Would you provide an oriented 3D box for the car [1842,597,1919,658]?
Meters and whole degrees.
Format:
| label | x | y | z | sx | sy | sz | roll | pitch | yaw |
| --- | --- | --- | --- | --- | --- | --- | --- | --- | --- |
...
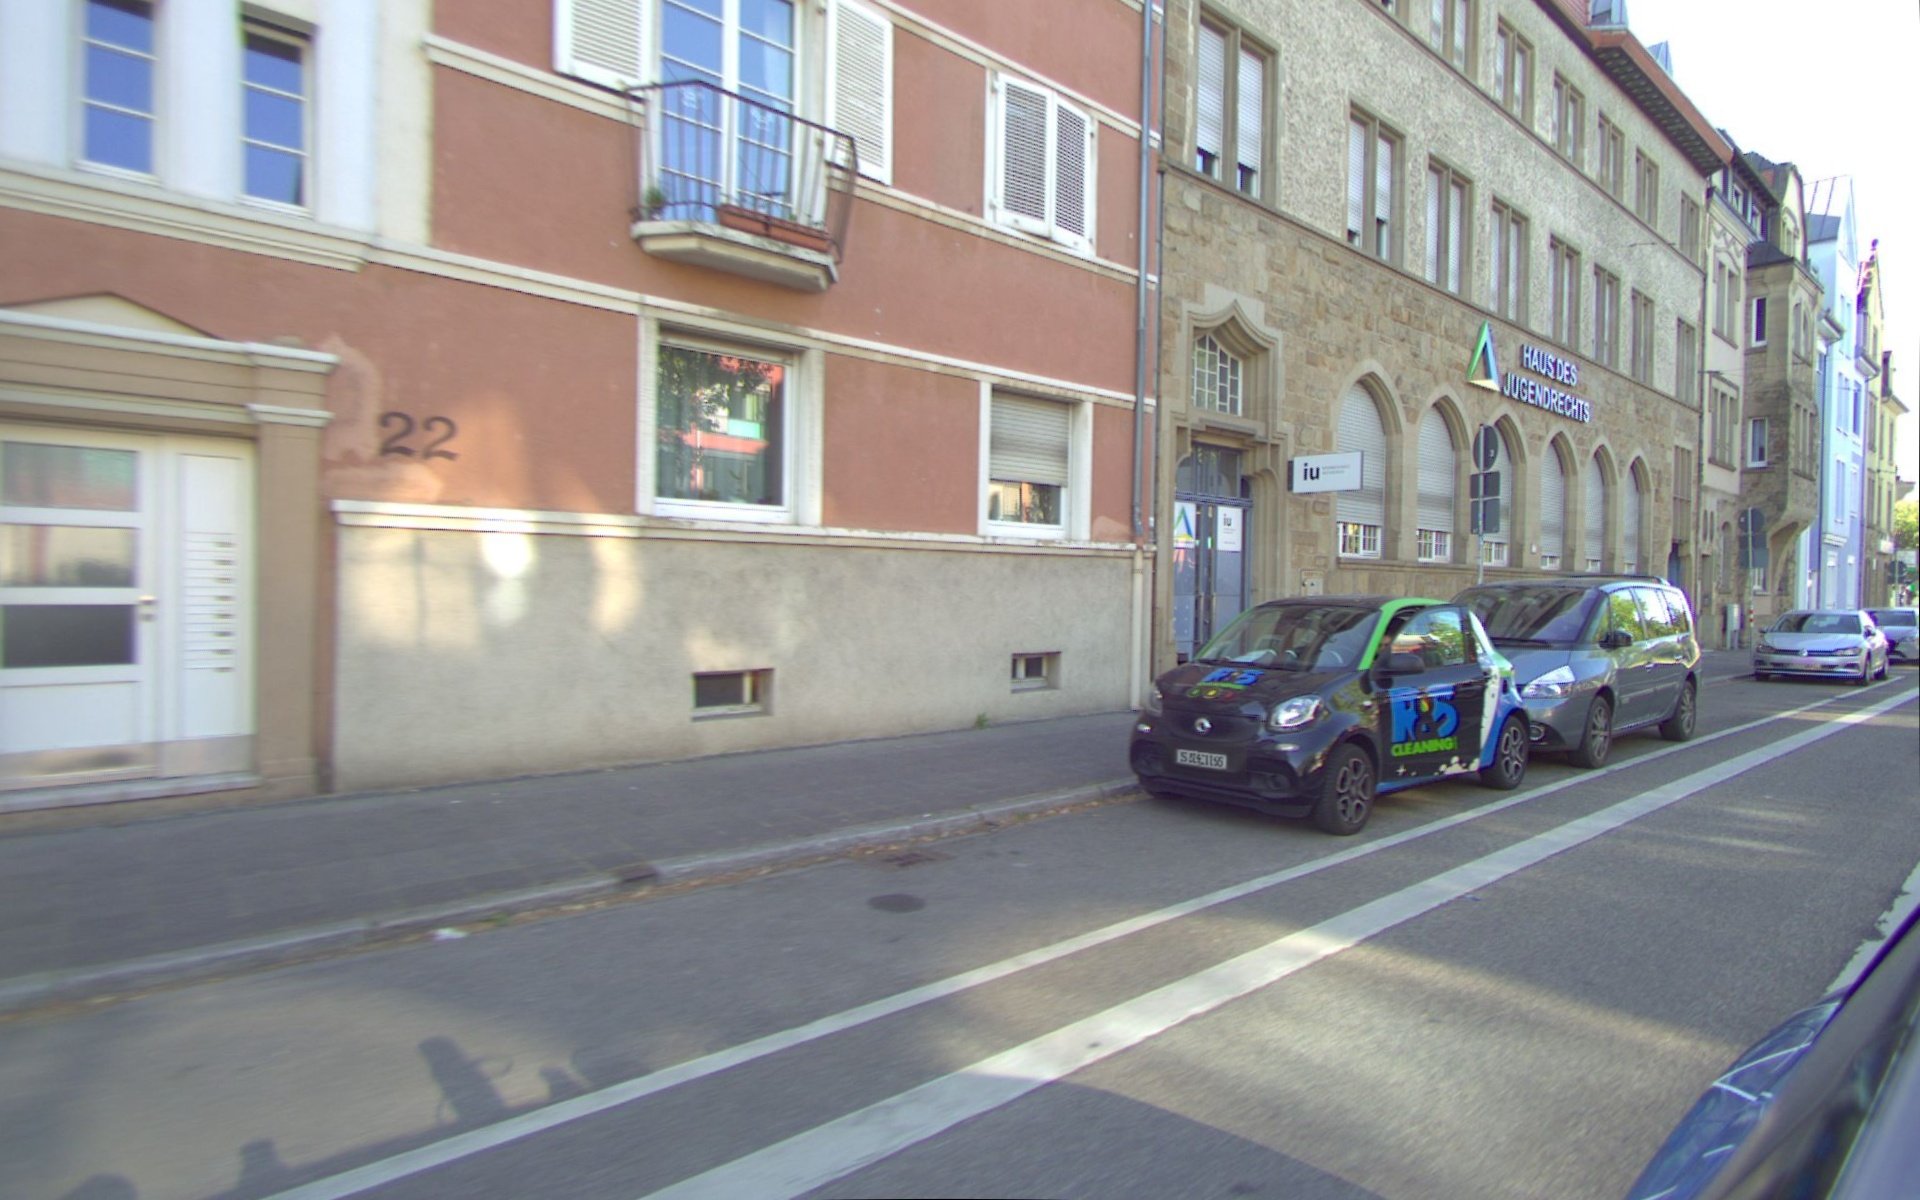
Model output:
| label | x | y | z | sx | sy | sz | roll | pitch | yaw |
| --- | --- | --- | --- | --- | --- | --- | --- | --- | --- |
| car | 25.120 | 0.685 | 26.975 | 4.121 | 1.520 | 1.756 | 0 | 0 | -39 |

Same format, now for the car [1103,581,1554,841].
| label | x | y | z | sx | sy | sz | roll | pitch | yaw |
| --- | --- | --- | --- | --- | --- | --- | --- | --- | --- |
| car | 2.941 | 0.652 | 7.767 | 3.650 | 1.530 | 1.635 | 0 | -1 | -40 |

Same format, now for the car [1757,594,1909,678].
| label | x | y | z | sx | sy | sz | roll | pitch | yaw |
| --- | --- | --- | --- | --- | --- | --- | --- | --- | --- |
| car | 17.611 | 0.657 | 20.350 | 4.151 | 1.520 | 1.716 | 0 | 0 | -41 |

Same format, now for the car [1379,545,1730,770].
| label | x | y | z | sx | sy | sz | roll | pitch | yaw |
| --- | --- | --- | --- | --- | --- | --- | --- | --- | --- |
| car | 6.409 | 0.464 | 10.648 | 4.731 | 1.879 | 1.756 | 0 | 0 | -41 |

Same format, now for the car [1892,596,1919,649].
| label | x | y | z | sx | sy | sz | roll | pitch | yaw |
| --- | --- | --- | --- | --- | --- | --- | --- | --- | --- |
| car | 29.372 | 0.651 | 30.376 | 3.930 | 1.501 | 1.658 | 0 | 1 | -41 |
